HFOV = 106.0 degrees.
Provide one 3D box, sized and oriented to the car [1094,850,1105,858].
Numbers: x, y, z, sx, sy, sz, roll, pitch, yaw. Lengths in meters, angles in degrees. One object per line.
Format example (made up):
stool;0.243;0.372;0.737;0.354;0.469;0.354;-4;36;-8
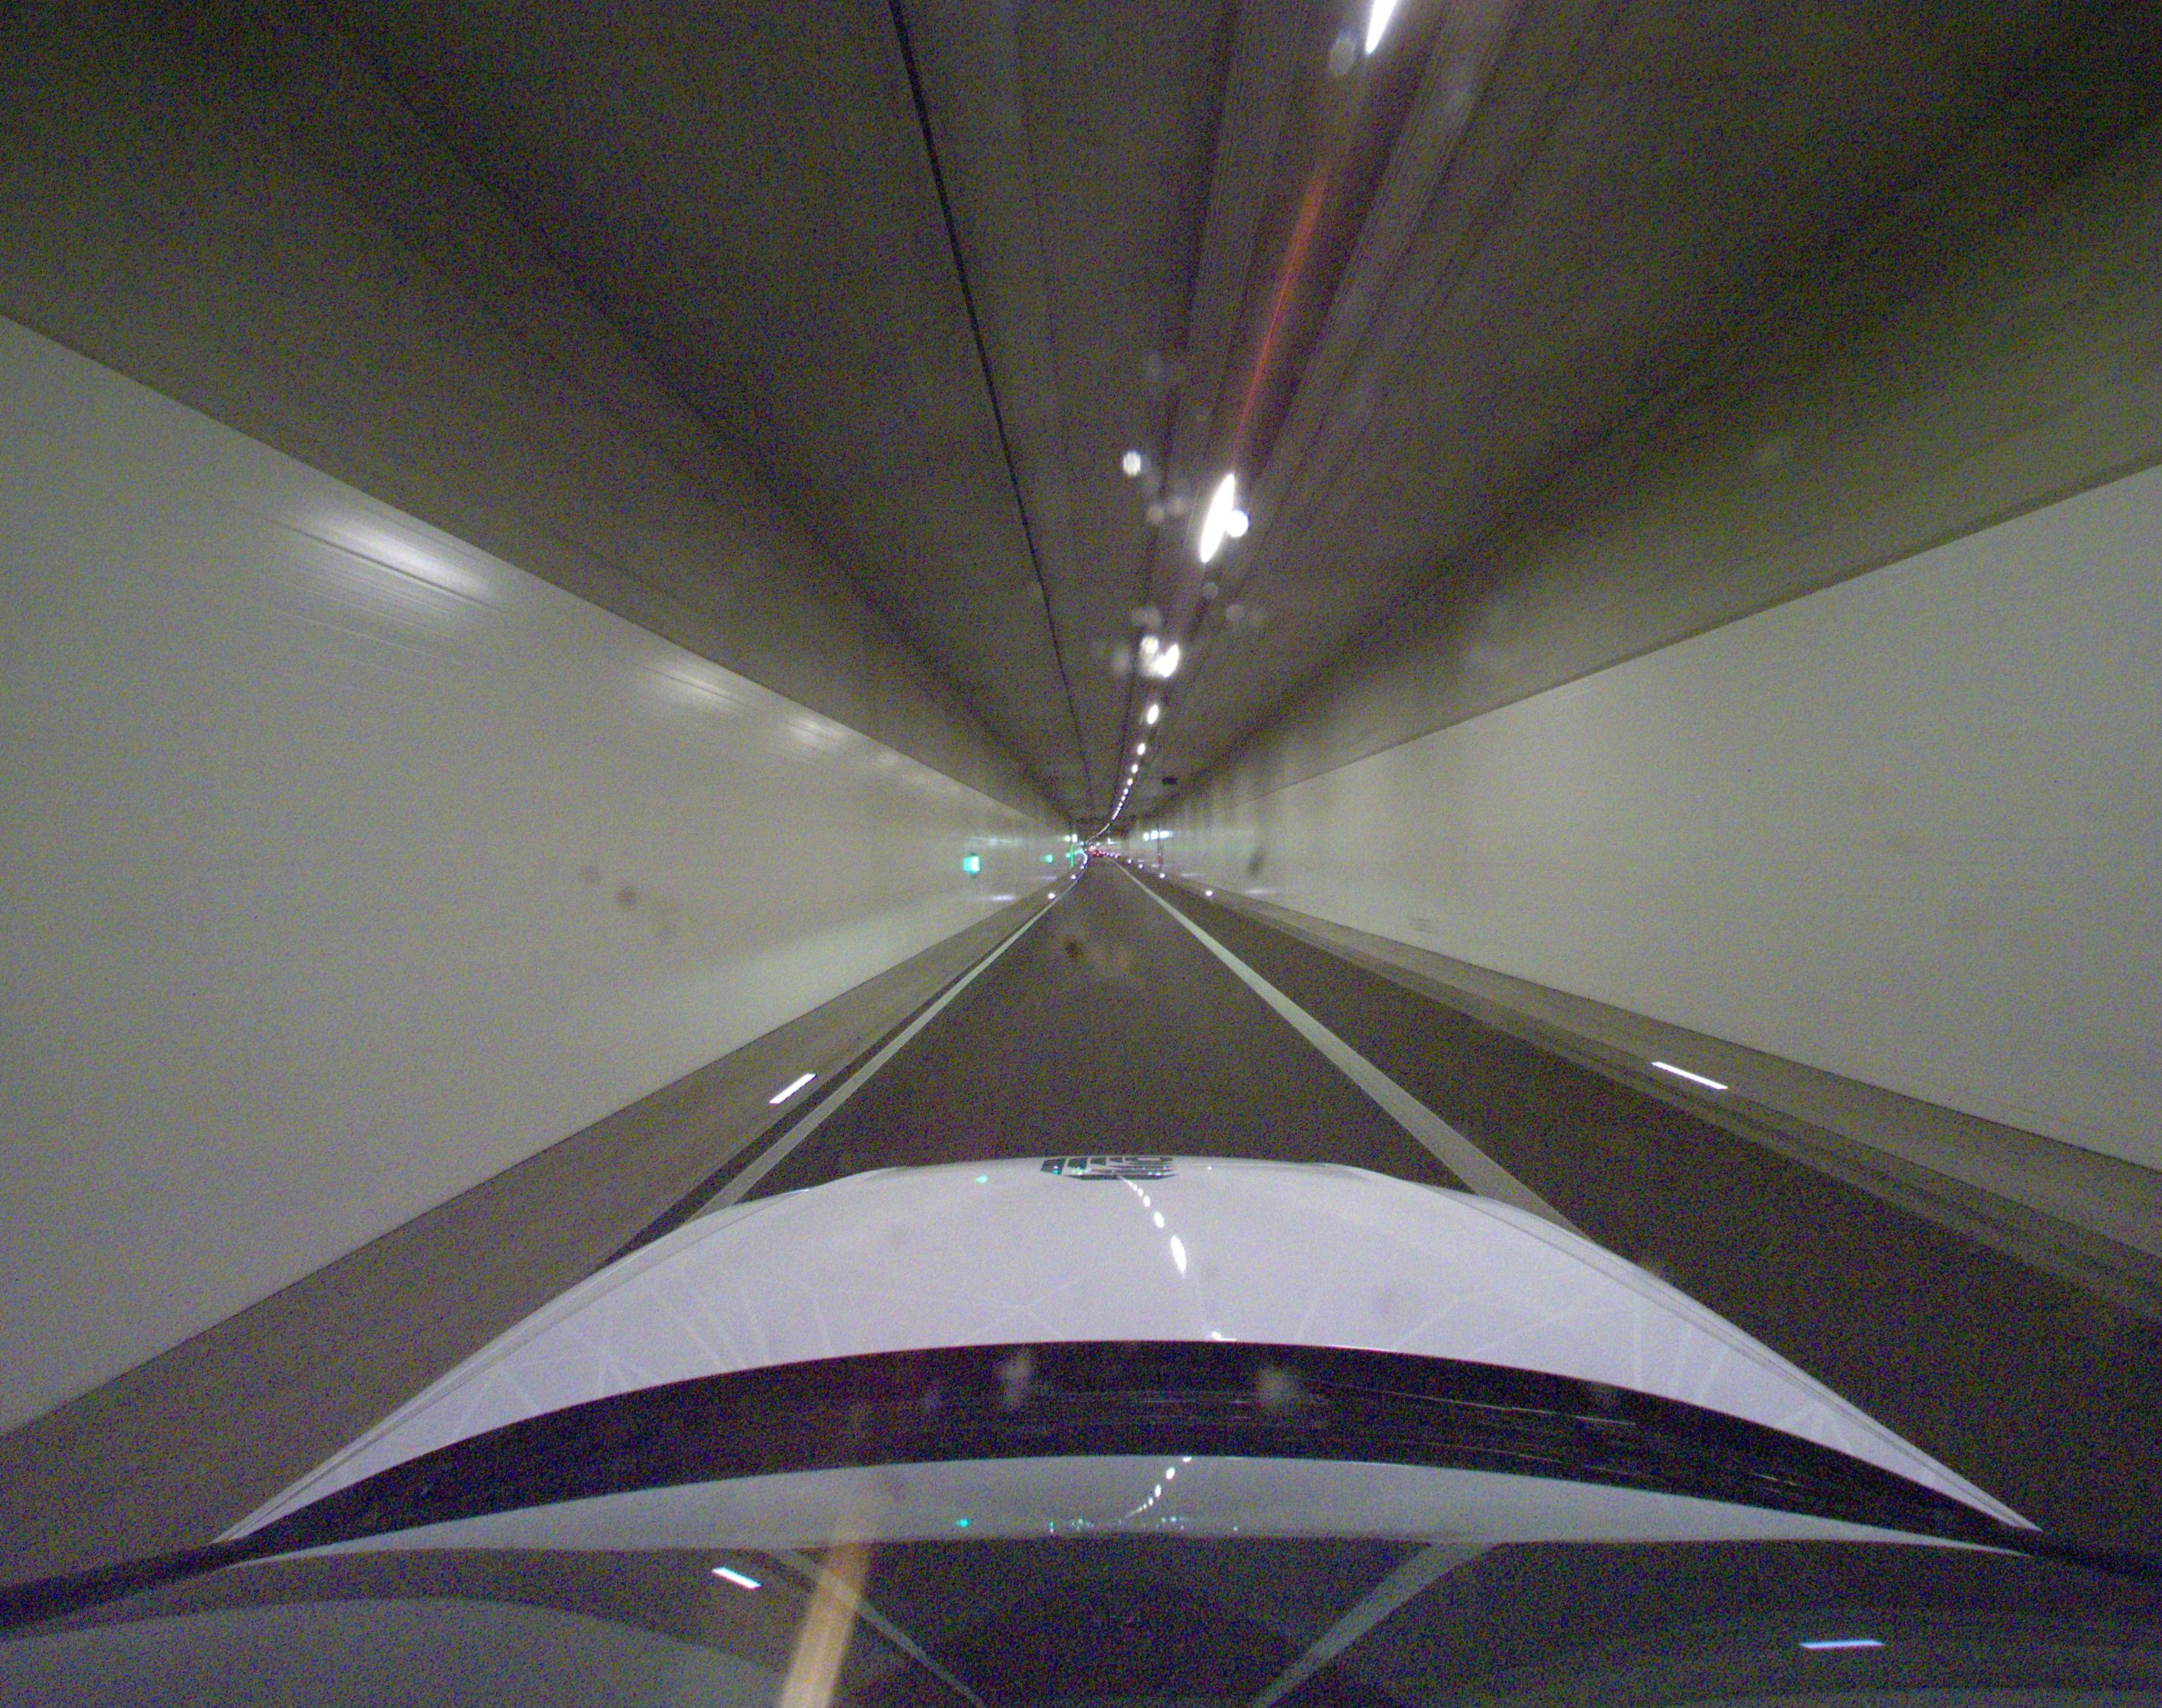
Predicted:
car;3.367;-0.039;148.459;1.987;1.420;3.999;-2;0;-1
